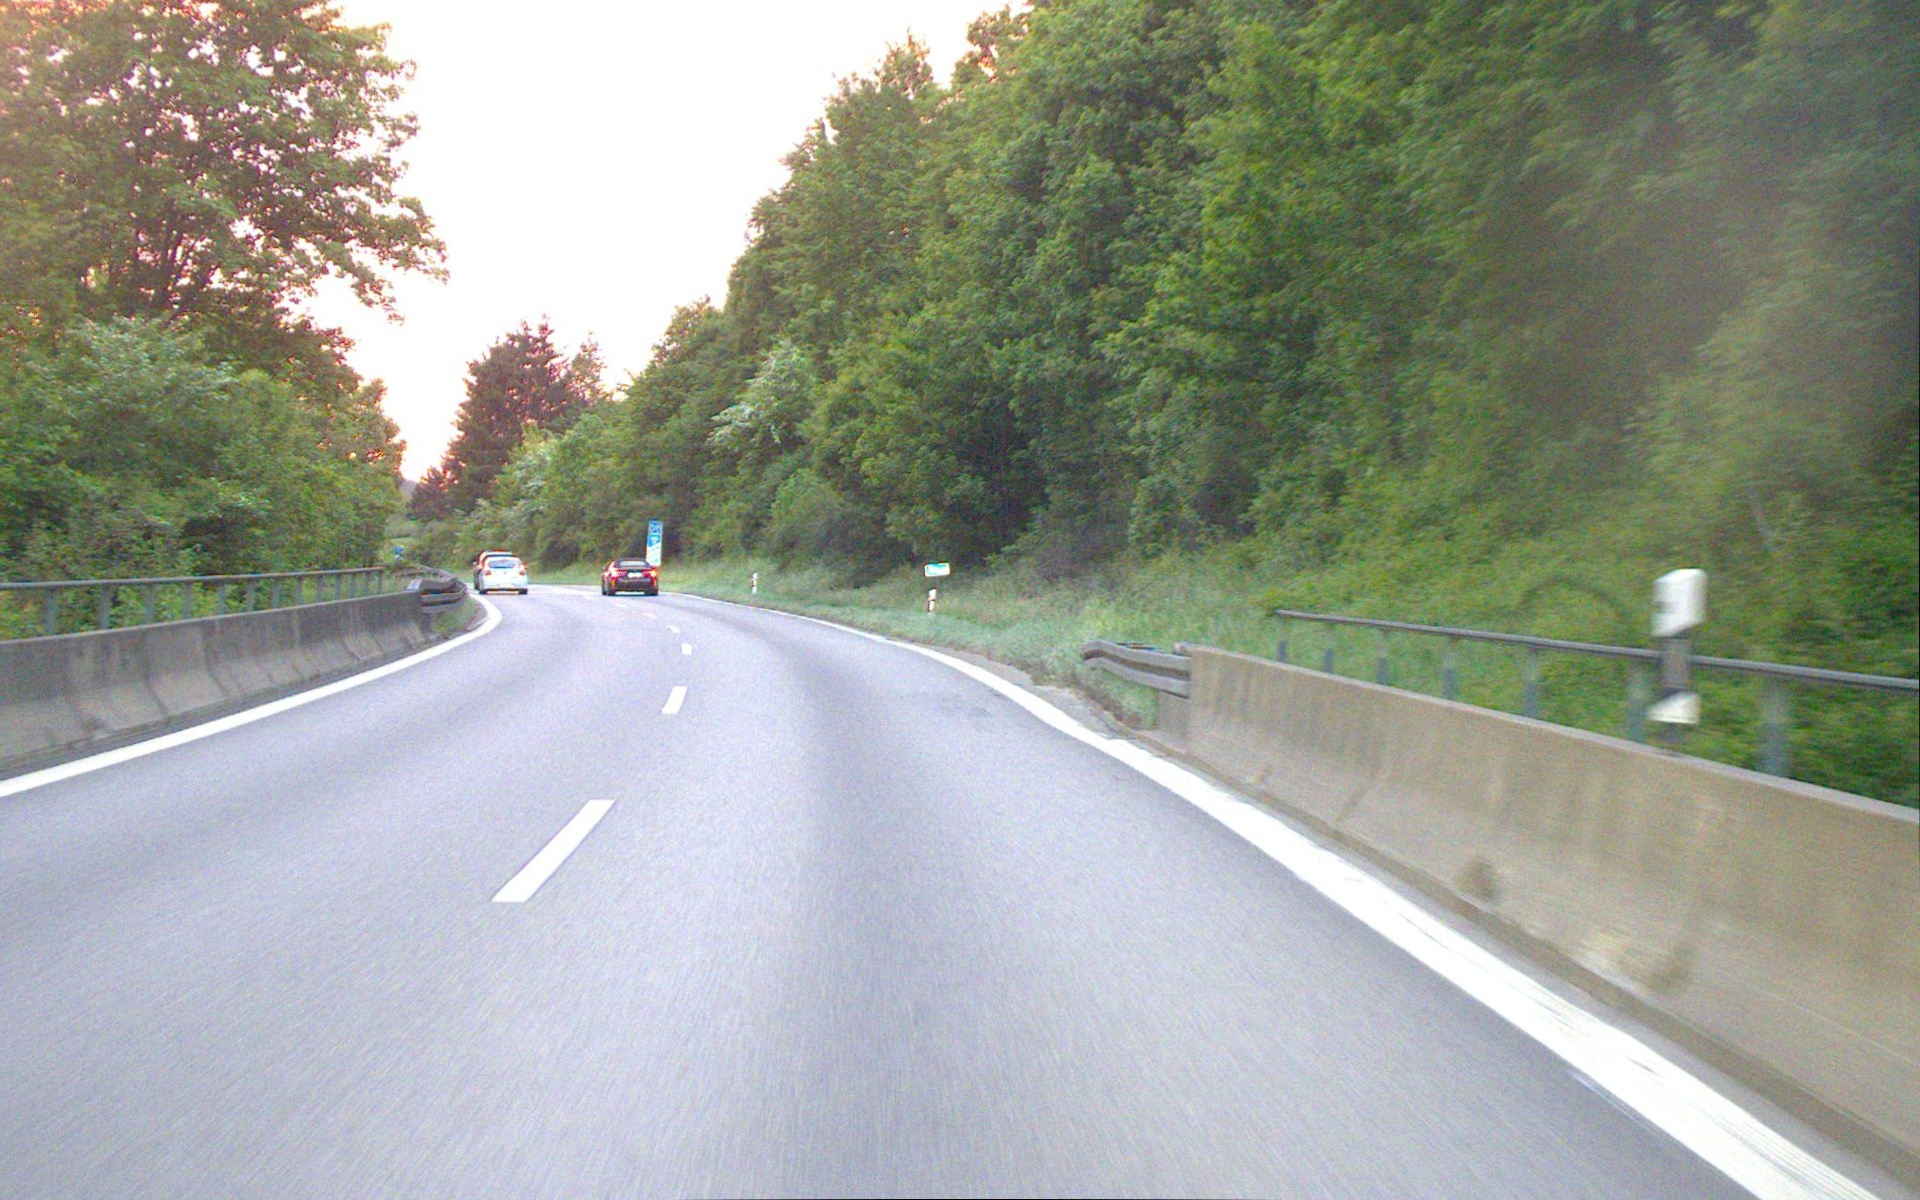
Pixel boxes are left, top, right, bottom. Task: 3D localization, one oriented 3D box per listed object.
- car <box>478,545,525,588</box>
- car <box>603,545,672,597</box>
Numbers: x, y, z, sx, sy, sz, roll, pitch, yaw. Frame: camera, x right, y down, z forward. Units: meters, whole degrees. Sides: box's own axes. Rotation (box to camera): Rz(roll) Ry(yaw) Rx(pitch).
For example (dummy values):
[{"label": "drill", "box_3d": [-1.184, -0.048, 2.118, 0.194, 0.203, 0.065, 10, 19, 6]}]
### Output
[{"label": "car", "box_3d": [-17.934, -1.290, 134.664, 1.718, 1.496, 4.000, 2, -1, -7]}, {"label": "car", "box_3d": [-12.214, -1.086, 130.141, 1.993, 1.640, 4.001, 4, -3, -13]}]
